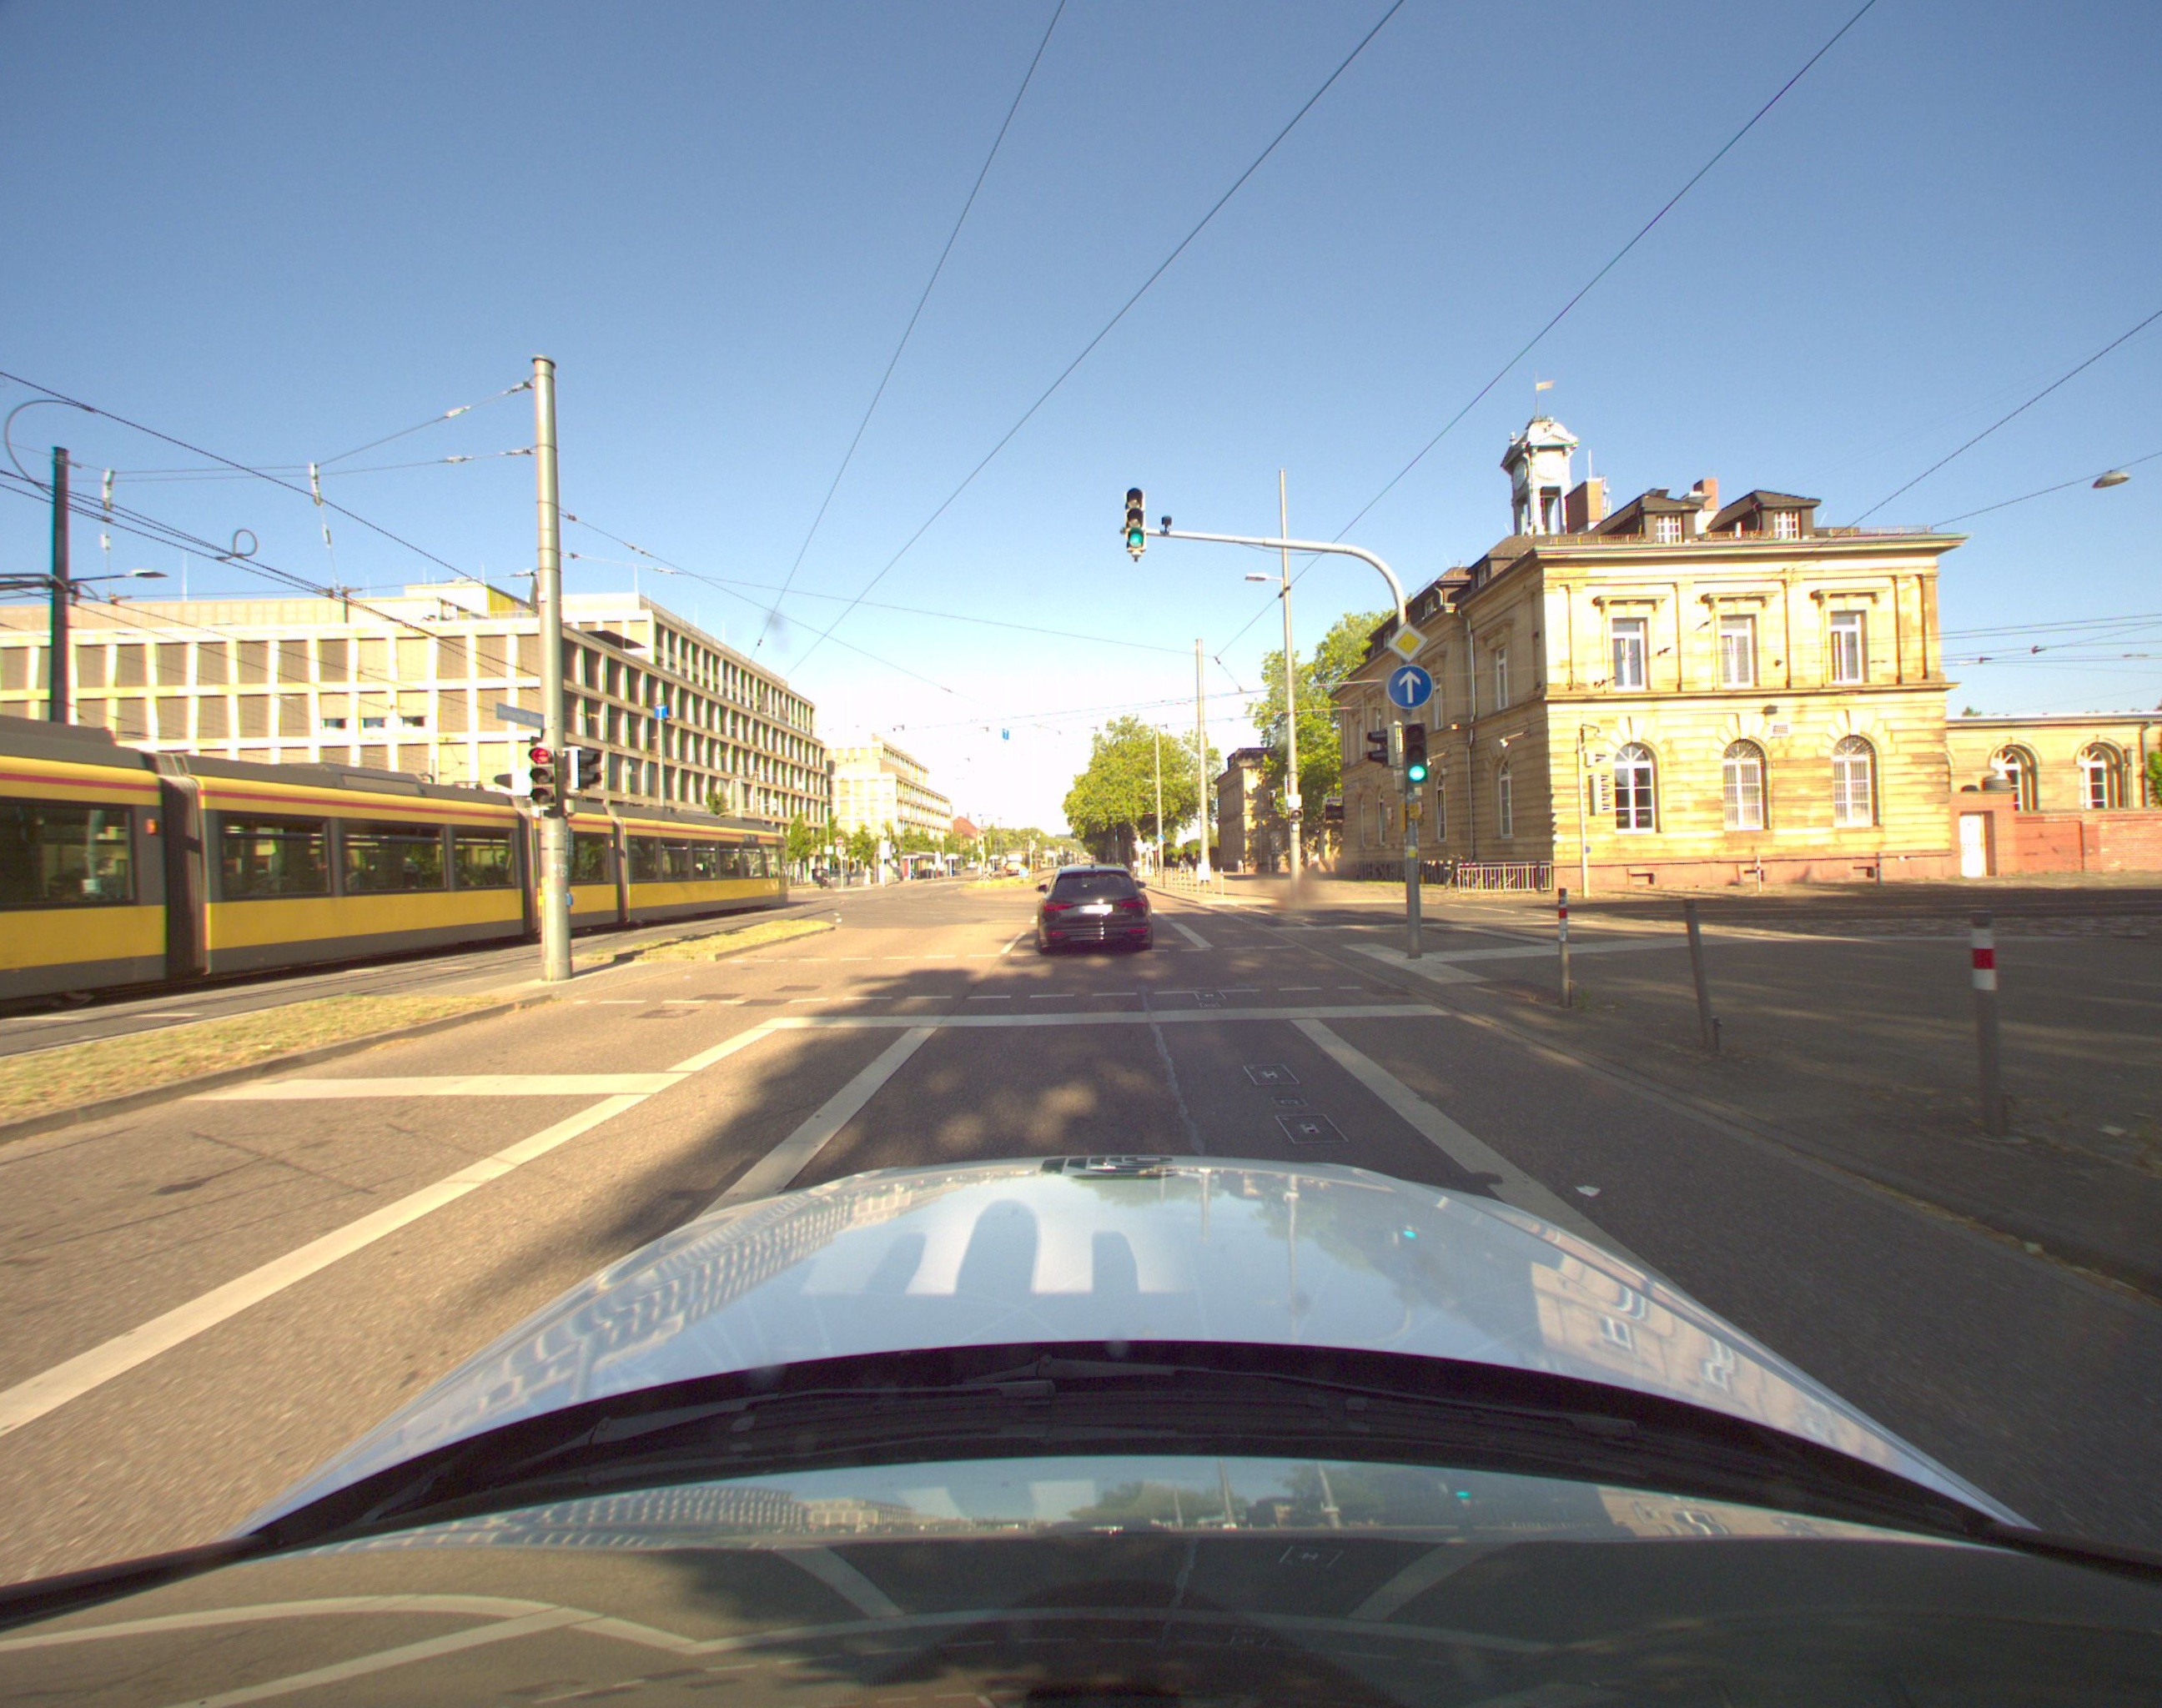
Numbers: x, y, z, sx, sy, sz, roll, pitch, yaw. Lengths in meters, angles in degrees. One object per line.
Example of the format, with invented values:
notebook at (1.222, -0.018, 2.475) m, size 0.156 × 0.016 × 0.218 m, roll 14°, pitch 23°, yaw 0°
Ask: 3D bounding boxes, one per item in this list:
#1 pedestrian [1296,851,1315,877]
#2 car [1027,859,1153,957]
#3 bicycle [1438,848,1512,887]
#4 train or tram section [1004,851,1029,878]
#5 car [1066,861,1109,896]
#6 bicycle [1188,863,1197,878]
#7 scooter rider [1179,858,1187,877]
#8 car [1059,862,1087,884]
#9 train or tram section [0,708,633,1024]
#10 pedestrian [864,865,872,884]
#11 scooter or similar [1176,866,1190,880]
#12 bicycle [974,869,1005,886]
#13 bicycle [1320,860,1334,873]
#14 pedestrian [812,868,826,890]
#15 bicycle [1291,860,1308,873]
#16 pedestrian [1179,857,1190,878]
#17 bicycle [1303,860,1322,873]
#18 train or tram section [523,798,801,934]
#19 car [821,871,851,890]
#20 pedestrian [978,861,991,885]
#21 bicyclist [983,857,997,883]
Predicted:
pedestrian at (16.026, 0.708, 58.076) m, size 0.979 × 1.865 × 0.824 m, roll -2°, pitch -1°, yaw -11°
car at (0.185, 0.834, 14.502) m, size 1.896 × 1.421 × 4.145 m, roll -2°, pitch 0°, yaw 1°
bicycle at (13.533, 0.471, 28.022) m, size 2.131 × 1.209 × 0.765 m, roll -3°, pitch -1°, yaw -2°
train or tram section at (-8.706, 1.375, 110.798) m, size 2.601 × 3.451 × 11.126 m, roll -2°, pitch -1°, yaw -1°
car at (0.336, 1.131, 38.694) m, size 1.896 × 1.486 × 4.145 m, roll -2°, pitch 0°, yaw 1°
bicycle at (8.813, 1.281, 64.435) m, size 0.433 × 1.145 × 1.339 m, roll -2°, pitch -1°, yaw -1°
scooter rider at (7.610, 1.015, 60.716) m, size 0.483 × 1.386 × 0.377 m, roll -3°, pitch -2°, yaw -2°
car at (-0.586, 1.414, 61.501) m, size 1.896 × 1.486 × 4.145 m, roll -2°, pitch 0°, yaw 1°
train or tram section at (-13.263, 0.227, 14.682) m, size 2.803 × 3.489 × 13.204 m, roll -2°, pitch -1°, yaw 1°
pedestrian at (-18.509, 1.783, 70.729) m, size 0.620 × 1.664 × 0.510 m, roll -1°, pitch -1°, yaw -24°
scooter or similar at (7.598, 1.437, 60.696) m, size 0.936 × 0.966 × 0.361 m, roll -3°, pitch -2°, yaw -2°
bicycle at (-6.544, 1.655, 58.284) m, size 2.014 × 1.108 × 0.759 m, roll -2°, pitch -1°, yaw -23°
bicycle at (20.320, 1.034, 67.167) m, size 0.524 × 1.047 × 2.231 m, roll -2°, pitch -1°, yaw 2°
pedestrian at (-19.211, 1.824, 59.816) m, size 0.753 × 1.532 × 0.625 m, roll -2°, pitch -1°, yaw 4°
bicycle at (17.866, 1.032, 66.664) m, size 0.525 × 1.047 × 2.353 m, roll -2°, pitch -1°, yaw -7°
pedestrian at (8.185, 1.069, 64.415) m, size 0.680 × 1.661 × 0.758 m, roll -2°, pitch -1°, yaw -1°
bicycle at (18.927, 1.026, 66.641) m, size 0.525 × 1.047 × 2.353 m, roll -2°, pitch -1°, yaw -7°
train or tram section at (-13.058, 0.376, 27.389) m, size 2.803 × 3.489 × 12.154 m, roll -2°, pitch -1°, yaw 1°
car at (-25.493, 2.765, 84.880) m, size 1.836 × 1.812 × 4.112 m, roll -2°, pitch -1°, yaw 0°
pedestrian at (-7.102, 1.379, 59.873) m, size 0.742 × 1.741 × 0.659 m, roll -1°, pitch -1°, yaw -20°
bicyclist at (-6.518, 1.171, 58.342) m, size 0.760 × 1.819 × 0.759 m, roll -2°, pitch -1°, yaw -22°
